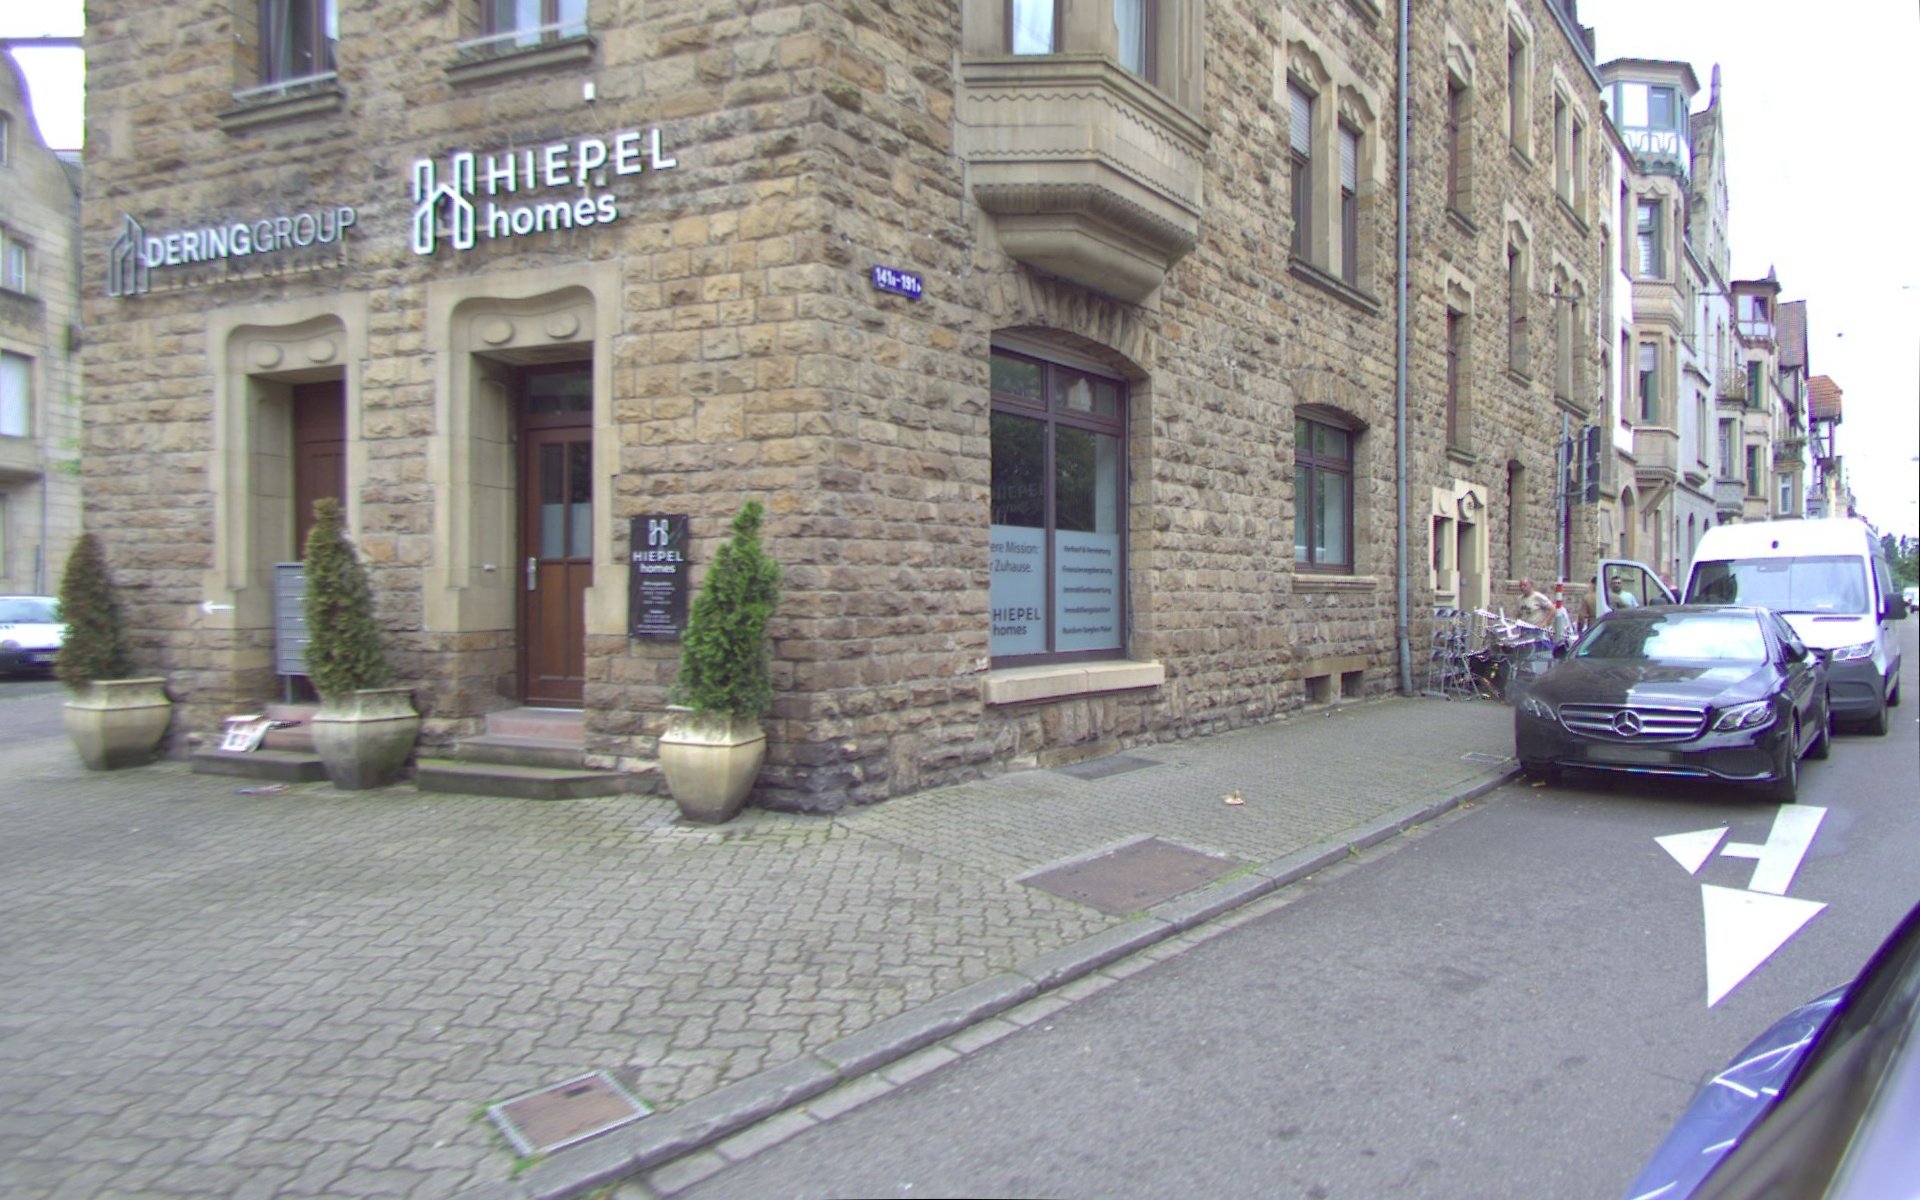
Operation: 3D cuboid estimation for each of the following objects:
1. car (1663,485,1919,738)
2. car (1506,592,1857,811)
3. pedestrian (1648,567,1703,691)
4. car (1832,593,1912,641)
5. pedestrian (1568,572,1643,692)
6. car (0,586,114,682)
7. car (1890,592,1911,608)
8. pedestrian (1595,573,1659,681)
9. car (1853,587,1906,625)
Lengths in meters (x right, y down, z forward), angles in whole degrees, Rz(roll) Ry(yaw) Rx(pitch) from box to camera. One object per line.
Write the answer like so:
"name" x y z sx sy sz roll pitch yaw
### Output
"car" 11.346 0.120 13.520 2.013 2.581 6.903 -2 -1 44
"car" 6.750 0.678 9.205 1.824 1.468 4.926 -1 0 45
"pedestrian" 10.983 0.427 15.529 0.790 1.837 0.499 0 2 -45
"car" 29.616 0.505 32.838 1.800 1.456 5.114 0 0 43
"pedestrian" 9.661 0.455 15.172 0.858 1.721 0.532 3 2 31
"car" -16.486 0.524 17.654 3.517 1.451 1.688 2 1 33
"car" 103.207 -0.007 111.083 1.671 1.547 4.148 -1 1 43
"pedestrian" 10.933 0.427 16.611 0.695 1.721 0.490 2 1 17
"car" 42.486 0.266 46.813 1.758 1.643 4.623 0 0 42
